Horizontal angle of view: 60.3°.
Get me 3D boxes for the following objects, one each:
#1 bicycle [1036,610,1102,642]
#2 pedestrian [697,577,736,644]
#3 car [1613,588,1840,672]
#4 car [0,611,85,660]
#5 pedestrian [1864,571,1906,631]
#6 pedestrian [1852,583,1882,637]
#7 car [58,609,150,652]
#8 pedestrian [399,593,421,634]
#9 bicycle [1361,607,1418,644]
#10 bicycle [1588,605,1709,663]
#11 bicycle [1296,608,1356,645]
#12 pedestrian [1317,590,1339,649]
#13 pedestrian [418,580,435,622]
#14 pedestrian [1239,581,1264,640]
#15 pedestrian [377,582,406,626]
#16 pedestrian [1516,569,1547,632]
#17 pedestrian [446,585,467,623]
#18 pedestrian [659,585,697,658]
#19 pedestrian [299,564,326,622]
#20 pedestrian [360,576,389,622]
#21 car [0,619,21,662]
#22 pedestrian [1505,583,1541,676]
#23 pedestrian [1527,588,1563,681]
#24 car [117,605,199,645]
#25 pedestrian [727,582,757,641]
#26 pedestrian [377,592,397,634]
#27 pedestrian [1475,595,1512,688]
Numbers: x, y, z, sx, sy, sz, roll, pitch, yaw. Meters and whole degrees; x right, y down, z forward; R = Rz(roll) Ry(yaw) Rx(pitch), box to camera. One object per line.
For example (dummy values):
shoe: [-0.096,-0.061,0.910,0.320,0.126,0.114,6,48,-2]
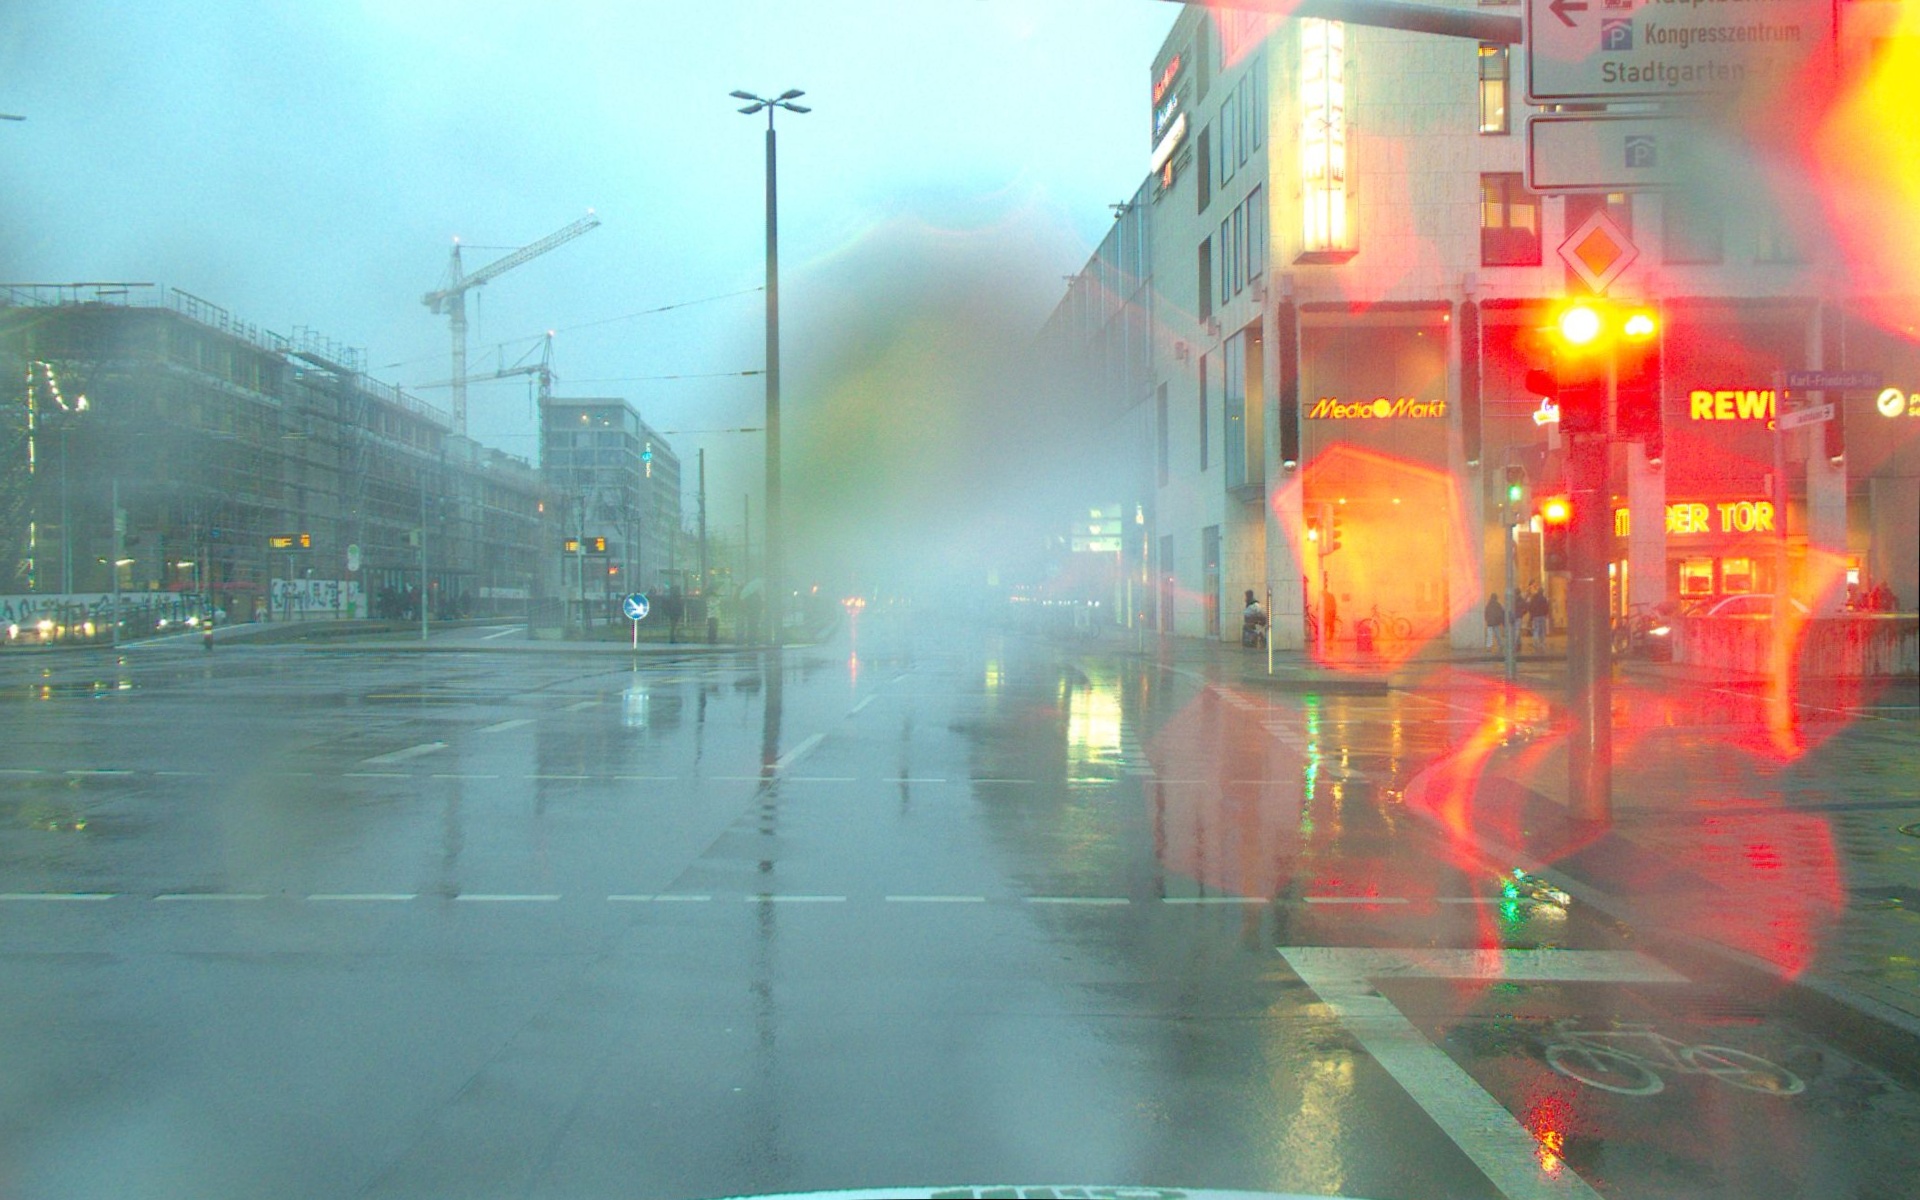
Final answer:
bicycle: [4.067,0.959,61.648,2.393,1.174,0.674,-1,-1,-2]
pedestrian: [-6.825,0.300,46.387,0.813,1.863,0.777,1,-1,-31]
car: [16.194,0.623,35.085,3.905,1.646,2.000,1,0,0]
car: [-37.244,1.416,67.000,1.830,1.860,3.993,1,0,-8]
pedestrian: [26.867,0.028,48.035,0.875,1.714,0.528,-1,-1,-1]
pedestrian: [25.536,0.284,46.576,0.573,1.520,0.519,0,-1,2]
car: [-37.543,1.309,72.629,1.953,1.822,3.999,1,0,-1]
pedestrian: [-26.295,0.652,79.090,0.750,1.931,0.762,1,-2,-1]
bicycle: [13.233,0.782,50.999,1.614,1.088,0.524,1,-1,-5]
bicycle: [17.198,0.840,41.344,2.659,1.383,0.957,-1,-1,-4]
bicycle: [11.246,0.817,50.836,1.734,1.088,0.523,1,-1,-9]
pedestrian: [11.198,0.584,50.281,0.587,1.775,0.525,1,-1,7]
pedestrian: [-25.937,0.057,80.425,0.559,2.002,0.664,2,-1,-7]
pedestrian: [8.726,0.316,49.478,0.624,1.739,0.573,-1,0,-2]
pedestrian: [-26.798,0.172,77.997,0.923,2.049,1.094,1,-1,-1]
pedestrian: [18.864,0.005,54.591,0.828,2.049,0.698,-1,0,8]
pedestrian: [-27.672,0.211,90.942,0.925,2.049,1.092,1,-1,-9]
pedestrian: [-8.042,0.603,47.245,0.771,2.049,0.724,0,-1,41]
pedestrian: [-26.786,-0.289,68.392,0.750,2.364,0.762,1,-2,-1]
pedestrian: [-26.743,-0.034,75.581,0.923,2.049,1.093,1,-1,-3]
car: [-36.365,1.521,60.533,2.038,1.557,4.604,-1,0,-10]
pedestrian: [15.137,0.785,44.454,0.675,2.484,0.758,1,-1,-1]
pedestrian: [15.897,0.924,44.950,0.679,2.491,0.791,1,-1,-1]
car: [-37.864,1.153,78.173,1.953,1.822,3.999,1,0,-1]
pedestrian: [-6.310,0.334,47.926,0.601,1.715,0.575,0,-1,41]
pedestrian: [-26.568,0.609,76.705,0.684,1.913,0.553,1,-1,-2]
pedestrian: [14.335,1.110,44.451,0.700,2.484,0.758,1,-1,-1]
